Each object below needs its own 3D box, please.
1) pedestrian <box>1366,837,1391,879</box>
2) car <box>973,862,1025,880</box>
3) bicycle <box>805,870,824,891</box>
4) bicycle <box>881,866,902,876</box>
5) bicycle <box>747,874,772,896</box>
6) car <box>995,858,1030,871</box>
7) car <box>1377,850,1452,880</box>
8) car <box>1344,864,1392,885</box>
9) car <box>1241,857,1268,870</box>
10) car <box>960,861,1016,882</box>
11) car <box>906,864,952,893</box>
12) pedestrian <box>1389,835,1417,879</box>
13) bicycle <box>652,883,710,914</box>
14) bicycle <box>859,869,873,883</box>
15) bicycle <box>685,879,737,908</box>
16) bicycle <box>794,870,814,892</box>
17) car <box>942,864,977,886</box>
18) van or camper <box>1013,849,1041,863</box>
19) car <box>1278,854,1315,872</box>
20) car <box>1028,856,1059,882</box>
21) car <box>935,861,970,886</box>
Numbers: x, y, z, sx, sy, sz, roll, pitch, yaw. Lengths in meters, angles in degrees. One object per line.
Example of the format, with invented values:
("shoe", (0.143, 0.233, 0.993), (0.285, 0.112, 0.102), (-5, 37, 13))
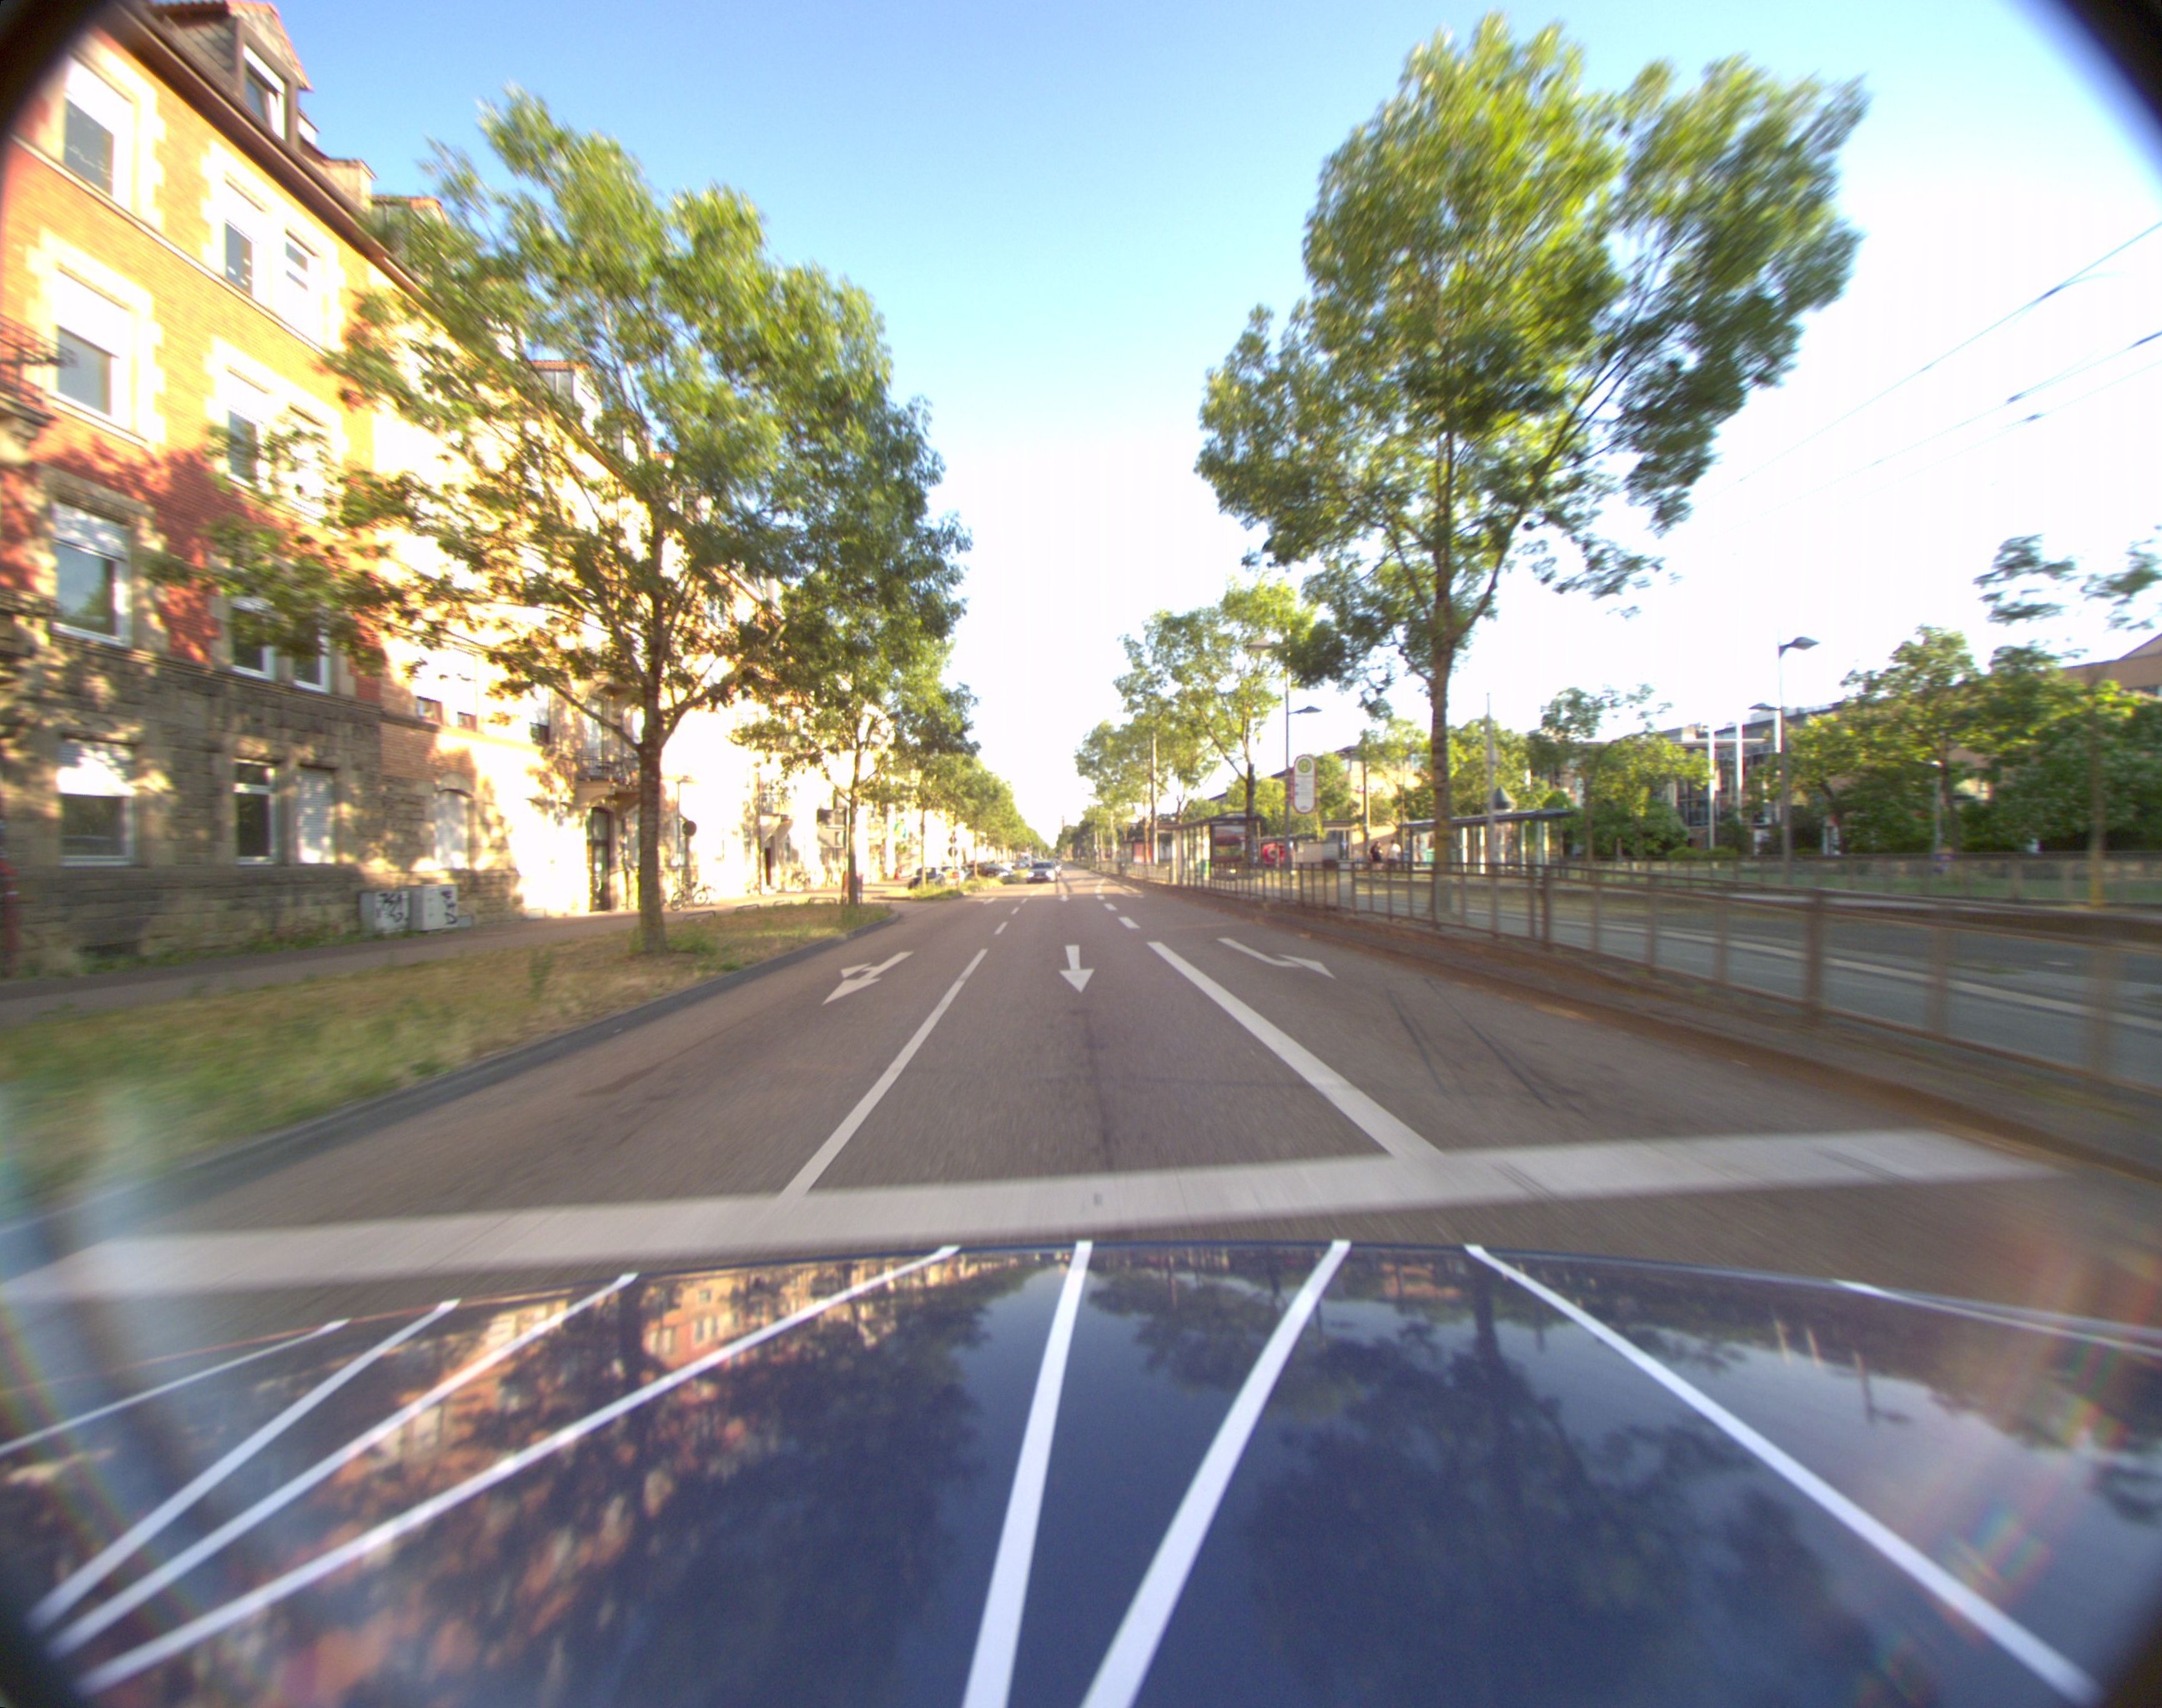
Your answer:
("pedestrian", (14.233, 0.188, 36.368), (0.772, 2.002, 1.127), (-1, 0, 0))
("car", (-7.266, 1.500, 67.468), (4.276, 1.513, 1.850), (-2, 0, 31))
("bicycle", (-15.887, 1.565, 45.339), (0.484, 1.158, 1.746), (4, 0, -1))
("bicycle", (-20.956, 1.866, 84.139), (2.211, 1.099, 0.538), (-1, 0, -6))
("bicycle", (-15.571, 1.495, 36.822), (0.484, 0.999, 1.746), (-1, 0, -1))
("car", (-9.216, 1.415, 102.381), (4.421, 1.681, 1.920), (-2, 0, 33))
("car", (18.635, 0.578, 42.692), (1.999, 1.542, 4.893), (-1, 0, -1))
("car", (20.696, 1.462, 55.037), (1.614, 1.405, 4.433), (-1, 0, -3))
("car", (17.618, 0.960, 77.312), (1.698, 1.290, 3.999), (-1, 0, -2))
("car", (-7.959, 1.476, 65.035), (4.330, 1.562, 2.005), (-3, -1, 31))
("car", (-8.489, 1.340, 42.674), (1.708, 1.440, 4.288), (-4, 0, -1))
("pedestrian", (15.009, 0.150, 35.444), (0.772, 2.002, 1.127), (-1, 0, 0))
("bicycle", (-13.600, 1.499, 25.912), (0.874, 0.910, 2.084), (0, 0, 0))
("bicycle", (-16.378, 1.679, 57.848), (0.574, 1.067, 1.896), (0, 0, -2))
("bicycle", (-13.813, 1.464, 28.462), (0.735, 0.942, 2.340), (0, 0, 2))
("bicycle", (-15.835, 1.512, 43.437), (0.484, 1.158, 1.746), (4, 0, -1))
("car", (-9.164, 1.524, 57.656), (1.950, 1.436, 4.907), (-4, 0, -2))
("van or camper", (-11.478, 0.354, 160.718), (5.636, 2.796, 2.208), (-1, 0, 30))
("car", (18.427, 0.754, 65.114), (1.799, 1.407, 4.340), (-2, 0, -2))
("car", (-2.572, 0.983, 51.460), (1.999, 1.655, 3.999), (-1, 0, -3))
("car", (-8.791, 1.292, 52.132), (1.730, 1.503, 4.271), (-4, 0, -2))
